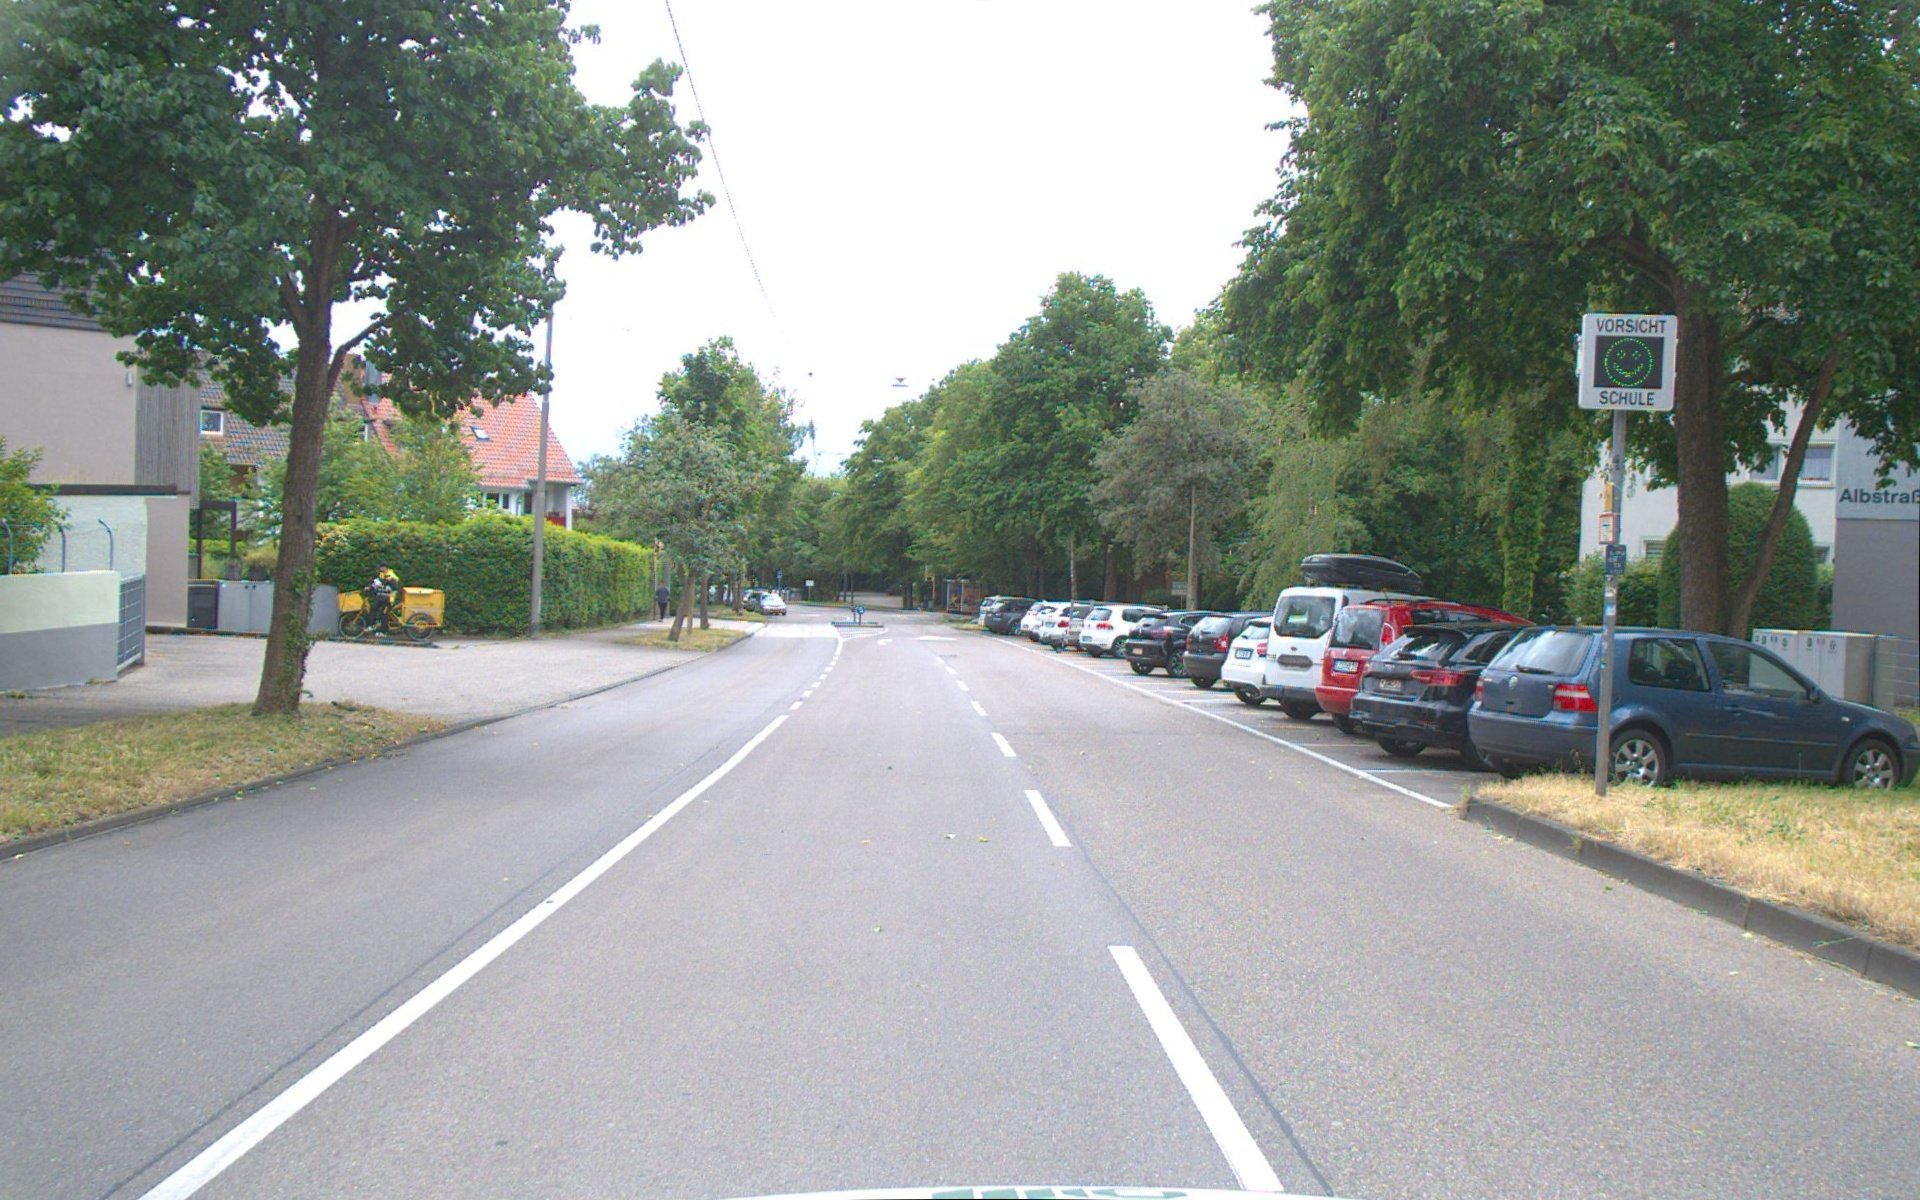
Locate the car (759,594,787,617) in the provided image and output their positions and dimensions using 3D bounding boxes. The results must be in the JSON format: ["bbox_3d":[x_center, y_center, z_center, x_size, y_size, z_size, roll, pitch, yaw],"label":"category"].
[{"bbox_3d":[-12.737,0.389,112.506,1.832,1.496,3.993,1,0,-8],"label":"car"}]

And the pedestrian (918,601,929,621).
[{"bbox_3d":[-2.855,0.854,128.419,0.725,1.597,0.652,1,-1,10],"label":"pedestrian"}]

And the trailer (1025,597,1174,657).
[{"bbox_3d":[4.200,0.820,49.870,4.094,1.600,1.702,3,-1,-21],"label":"trailer"}]

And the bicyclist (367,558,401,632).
[{"bbox_3d":[-13.729,-0.132,39.419,0.701,1.727,0.843,2,0,-20],"label":"bicyclist"}]

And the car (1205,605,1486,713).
[{"bbox_3d":[6.103,0.927,26.343,3.903,1.474,1.910,3,0,-17],"label":"car"}]

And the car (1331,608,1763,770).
[{"bbox_3d":[6.045,0.915,17.098,3.967,1.430,1.747,3,0,-19],"label":"car"}]

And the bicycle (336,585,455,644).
[{"bbox_3d":[-13.488,0.349,39.538,2.605,1.288,0.842,2,0,-21],"label":"bicycle"}]

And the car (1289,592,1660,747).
[{"bbox_3d":[6.260,0.839,20.235,3.934,1.648,1.876,3,0,-17],"label":"car"}]

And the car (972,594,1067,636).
[{"bbox_3d":[2.649,0.674,73.672,3.828,1.697,1.733,2,0,-21],"label":"car"}]

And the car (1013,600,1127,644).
[{"bbox_3d":[4.051,0.820,60.917,3.828,1.454,1.733,2,0,-21],"label":"car"}]

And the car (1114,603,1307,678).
[{"bbox_3d":[5.538,0.902,36.584,3.835,1.474,1.830,2,0,-25],"label":"car"}]

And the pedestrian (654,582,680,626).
[{"bbox_3d":[-12.083,0.159,68.187,0.955,1.761,0.848,1,0,-5],"label":"pedestrian"}]

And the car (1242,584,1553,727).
[{"bbox_3d":[6.139,0.783,23.146,4.039,1.785,1.771,3,0,-28],"label":"car"}]

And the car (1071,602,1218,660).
[{"bbox_3d":[5.318,0.893,47.720,3.831,1.474,1.732,2,0,-23],"label":"car"}]

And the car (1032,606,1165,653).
[{"bbox_3d":[4.400,0.935,52.562,3.836,1.332,1.730,2,0,-26],"label":"car"}]

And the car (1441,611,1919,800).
[{"bbox_3d":[6.509,0.925,14.768,3.900,1.430,1.749,3,0,-16],"label":"car"}]

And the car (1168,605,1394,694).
[{"bbox_3d":[6.115,0.941,31.597,3.829,1.474,1.833,3,-1,-21],"label":"car"}]

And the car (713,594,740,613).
[{"bbox_3d":[-19.856,0.280,140.578,1.835,1.496,3.985,1,0,-14],"label":"car"}]

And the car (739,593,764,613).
[{"bbox_3d":[-16.355,0.223,129.750,1.832,1.496,3.993,1,0,-8],"label":"car"}]

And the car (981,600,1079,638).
[{"bbox_3d":[2.992,0.830,70.891,3.828,1.454,1.733,2,0,-21],"label":"car"}]

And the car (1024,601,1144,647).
[{"bbox_3d":[4.385,0.842,58.349,3.828,1.454,1.733,2,0,-21],"label":"car"}]
